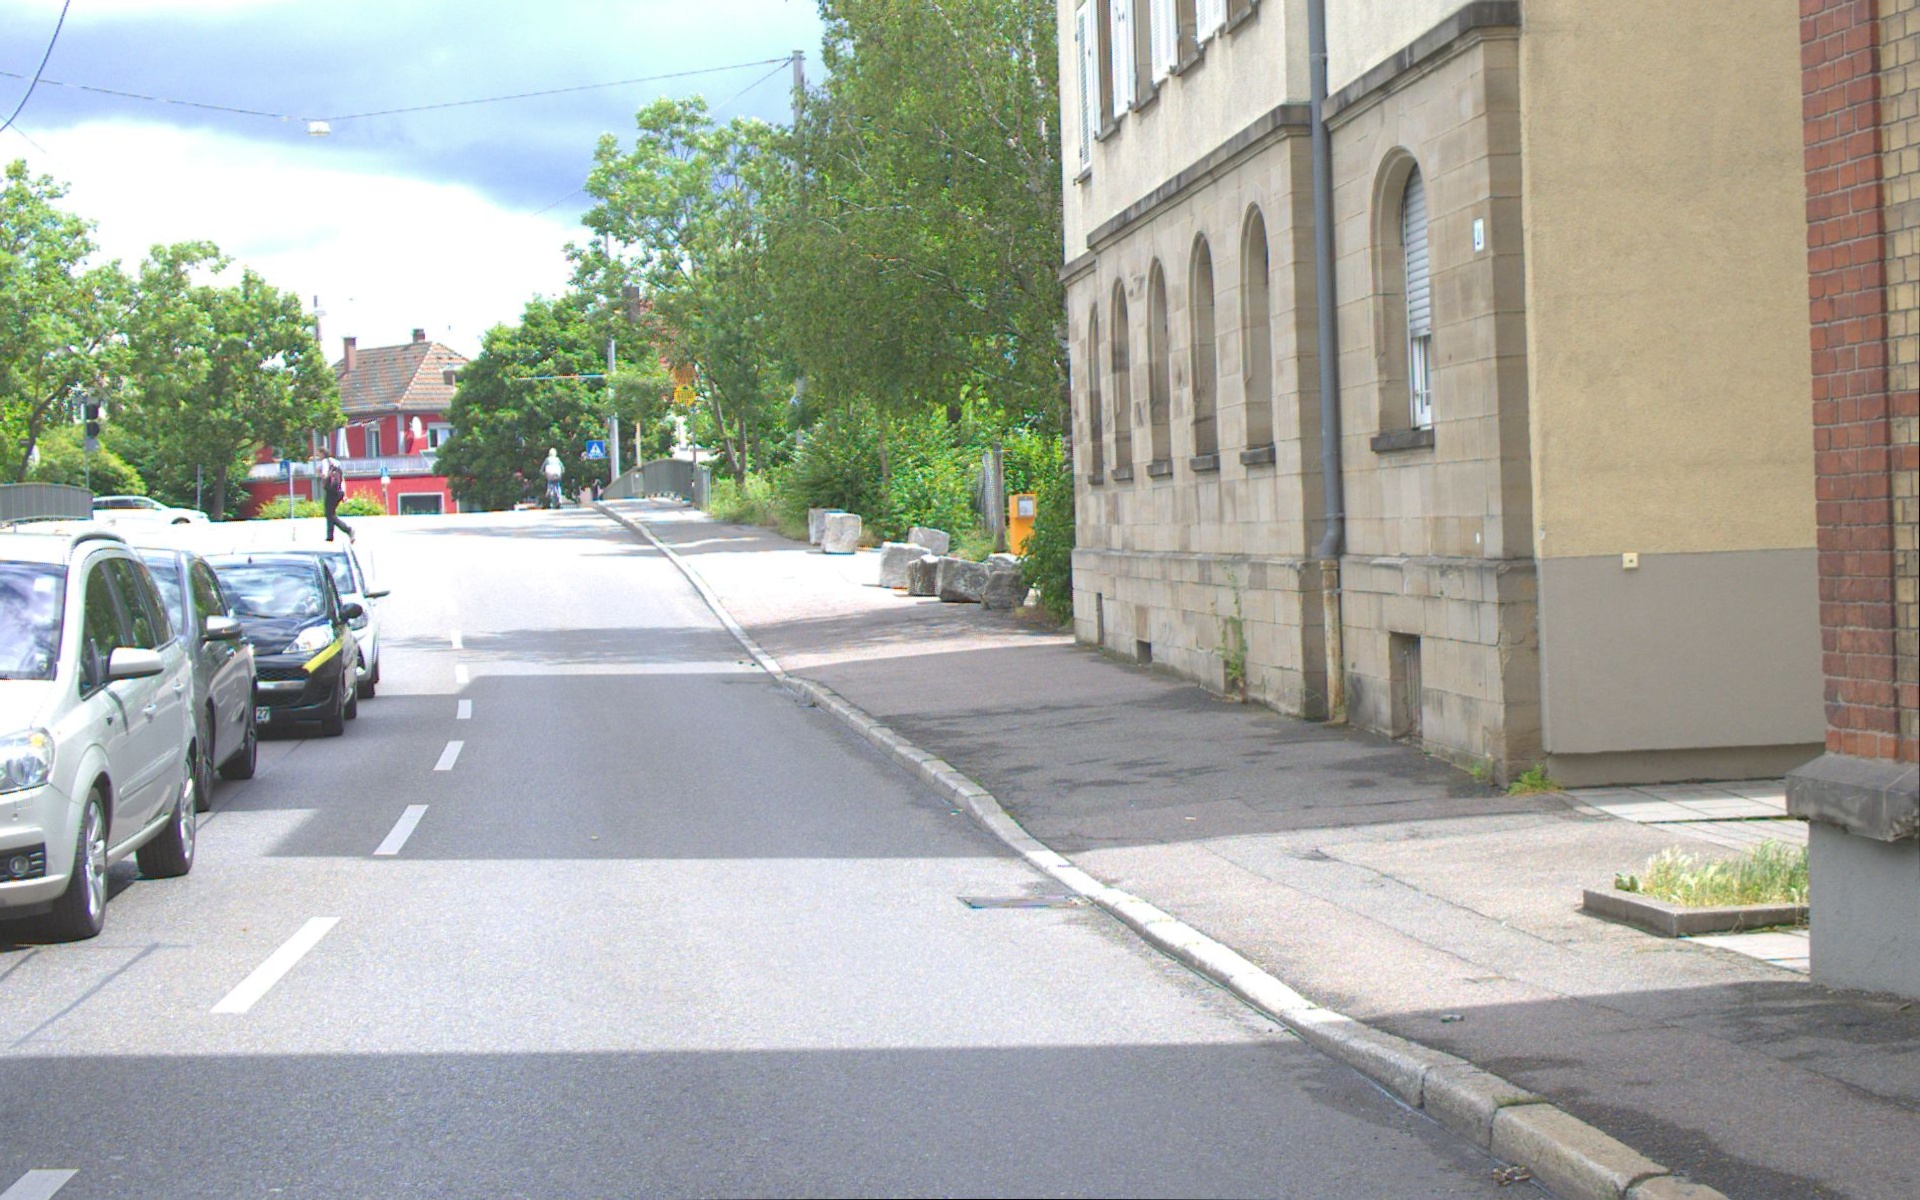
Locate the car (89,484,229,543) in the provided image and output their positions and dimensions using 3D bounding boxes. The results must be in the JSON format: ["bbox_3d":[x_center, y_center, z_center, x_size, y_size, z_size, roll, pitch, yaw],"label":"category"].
[{"bbox_3d":[-26.628,-2.865,114.287,4.416,1.825,2.001,1,0,-15],"label":"car"}]

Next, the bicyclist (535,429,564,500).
[{"bbox_3d":[-11.138,-3.668,93.236,0.684,1.820,1.080,-1,-3,-4],"label":"bicyclist"}]

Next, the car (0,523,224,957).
[{"bbox_3d":[-4.303,0.480,14.593,1.718,1.576,4.319,0,1,-4],"label":"car"}]

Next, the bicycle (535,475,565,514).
[{"bbox_3d":[-11.111,-2.857,93.243,0.687,0.875,2.102,-1,-3,-3],"label":"bicycle"}]

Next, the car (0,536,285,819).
[{"bbox_3d":[-5.309,0.410,21.260,1.718,1.576,4.252,0,1,-4],"label":"car"}]

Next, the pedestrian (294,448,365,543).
[{"bbox_3d":[-12.196,-2.025,66.477,1.034,1.830,0.999,0,3,11],"label":"pedestrian"}]

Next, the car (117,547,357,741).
[{"bbox_3d":[-5.827,0.318,28.002,1.718,1.479,3.323,0,1,-9],"label":"car"}]

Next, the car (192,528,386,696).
[{"bbox_3d":[-6.637,0.088,34.304,1.718,1.576,4.001,0,1,-9],"label":"car"}]
